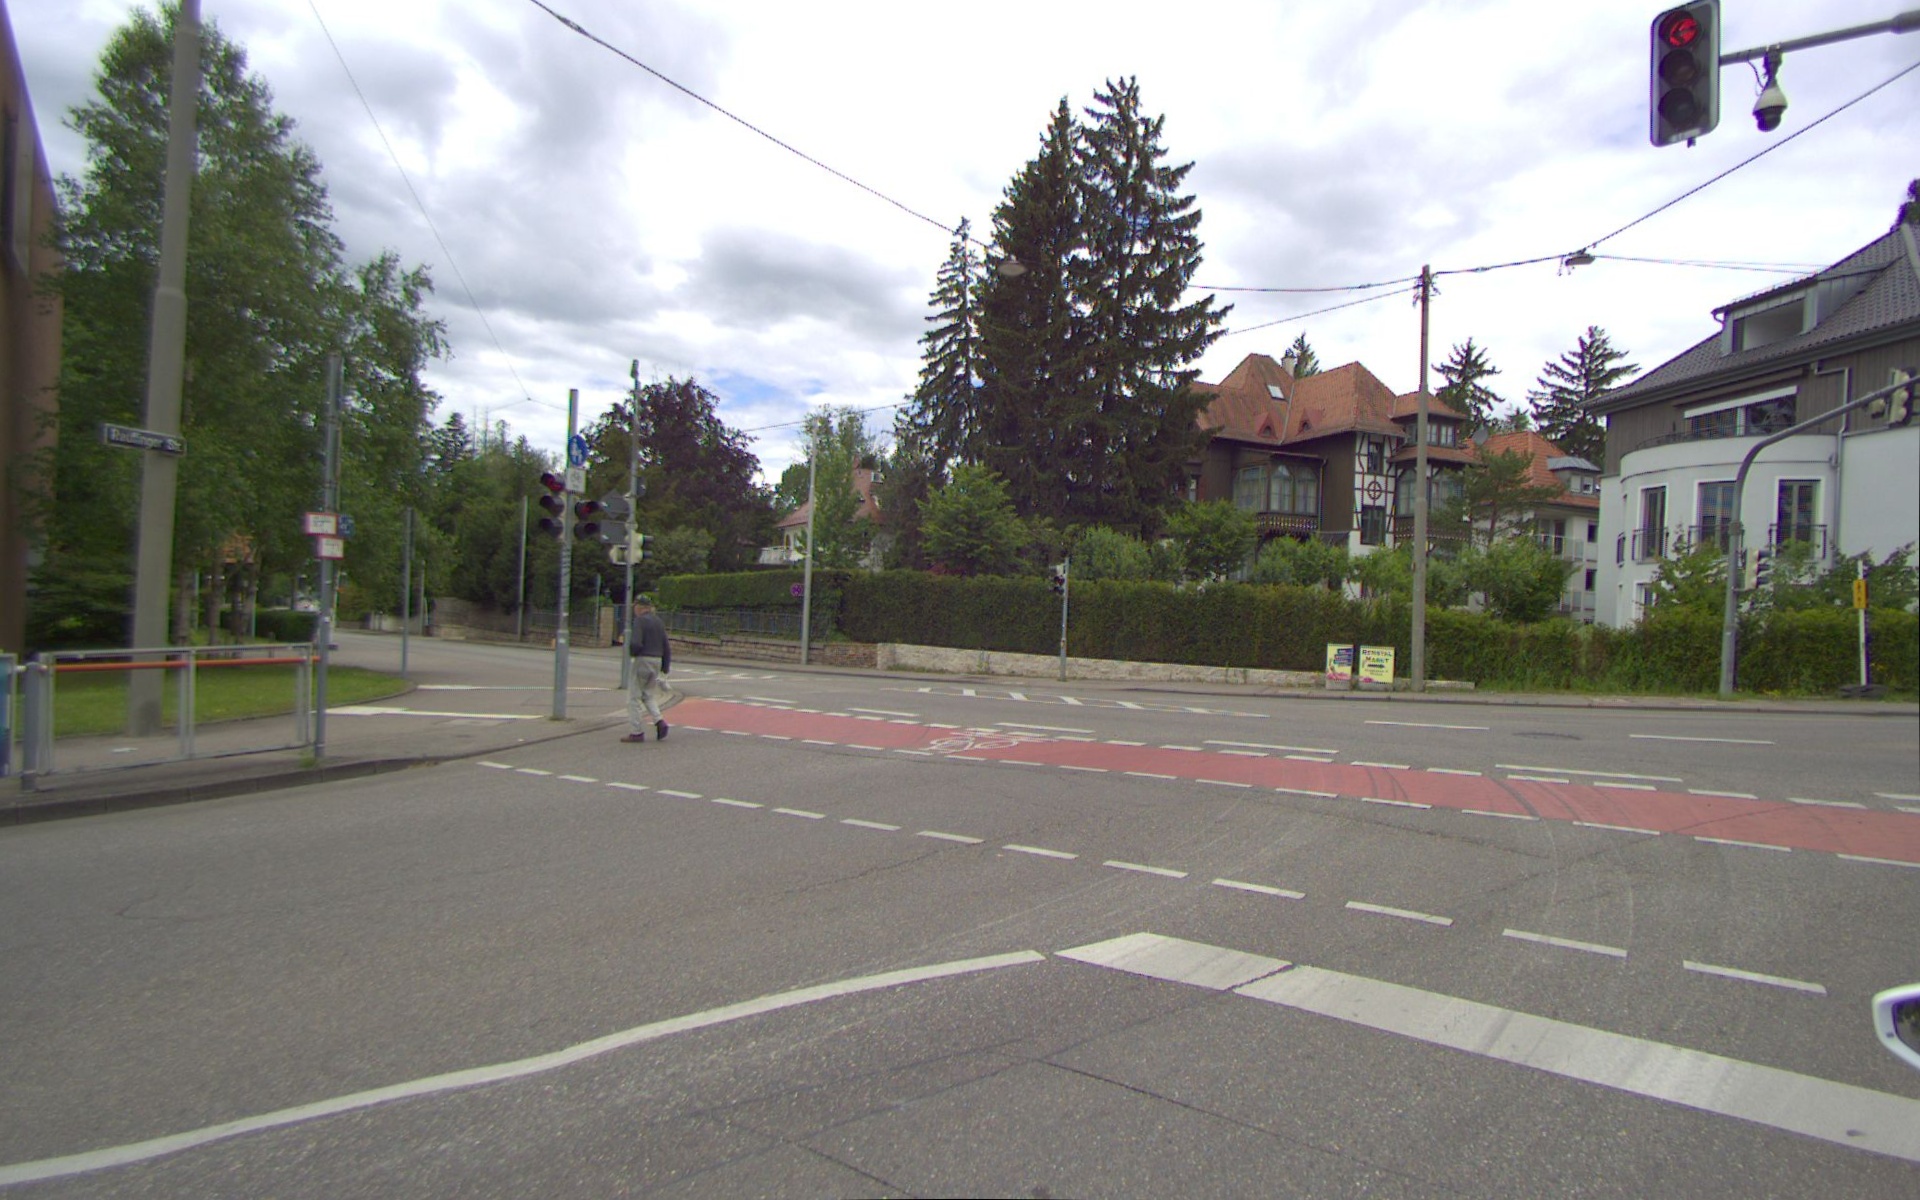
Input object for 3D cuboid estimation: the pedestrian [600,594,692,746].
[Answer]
[{"bbox_3d":[-3.566,0.775,11.437,0.726,1.655,0.683,-1,-1,22],"label":"pedestrian"}]
